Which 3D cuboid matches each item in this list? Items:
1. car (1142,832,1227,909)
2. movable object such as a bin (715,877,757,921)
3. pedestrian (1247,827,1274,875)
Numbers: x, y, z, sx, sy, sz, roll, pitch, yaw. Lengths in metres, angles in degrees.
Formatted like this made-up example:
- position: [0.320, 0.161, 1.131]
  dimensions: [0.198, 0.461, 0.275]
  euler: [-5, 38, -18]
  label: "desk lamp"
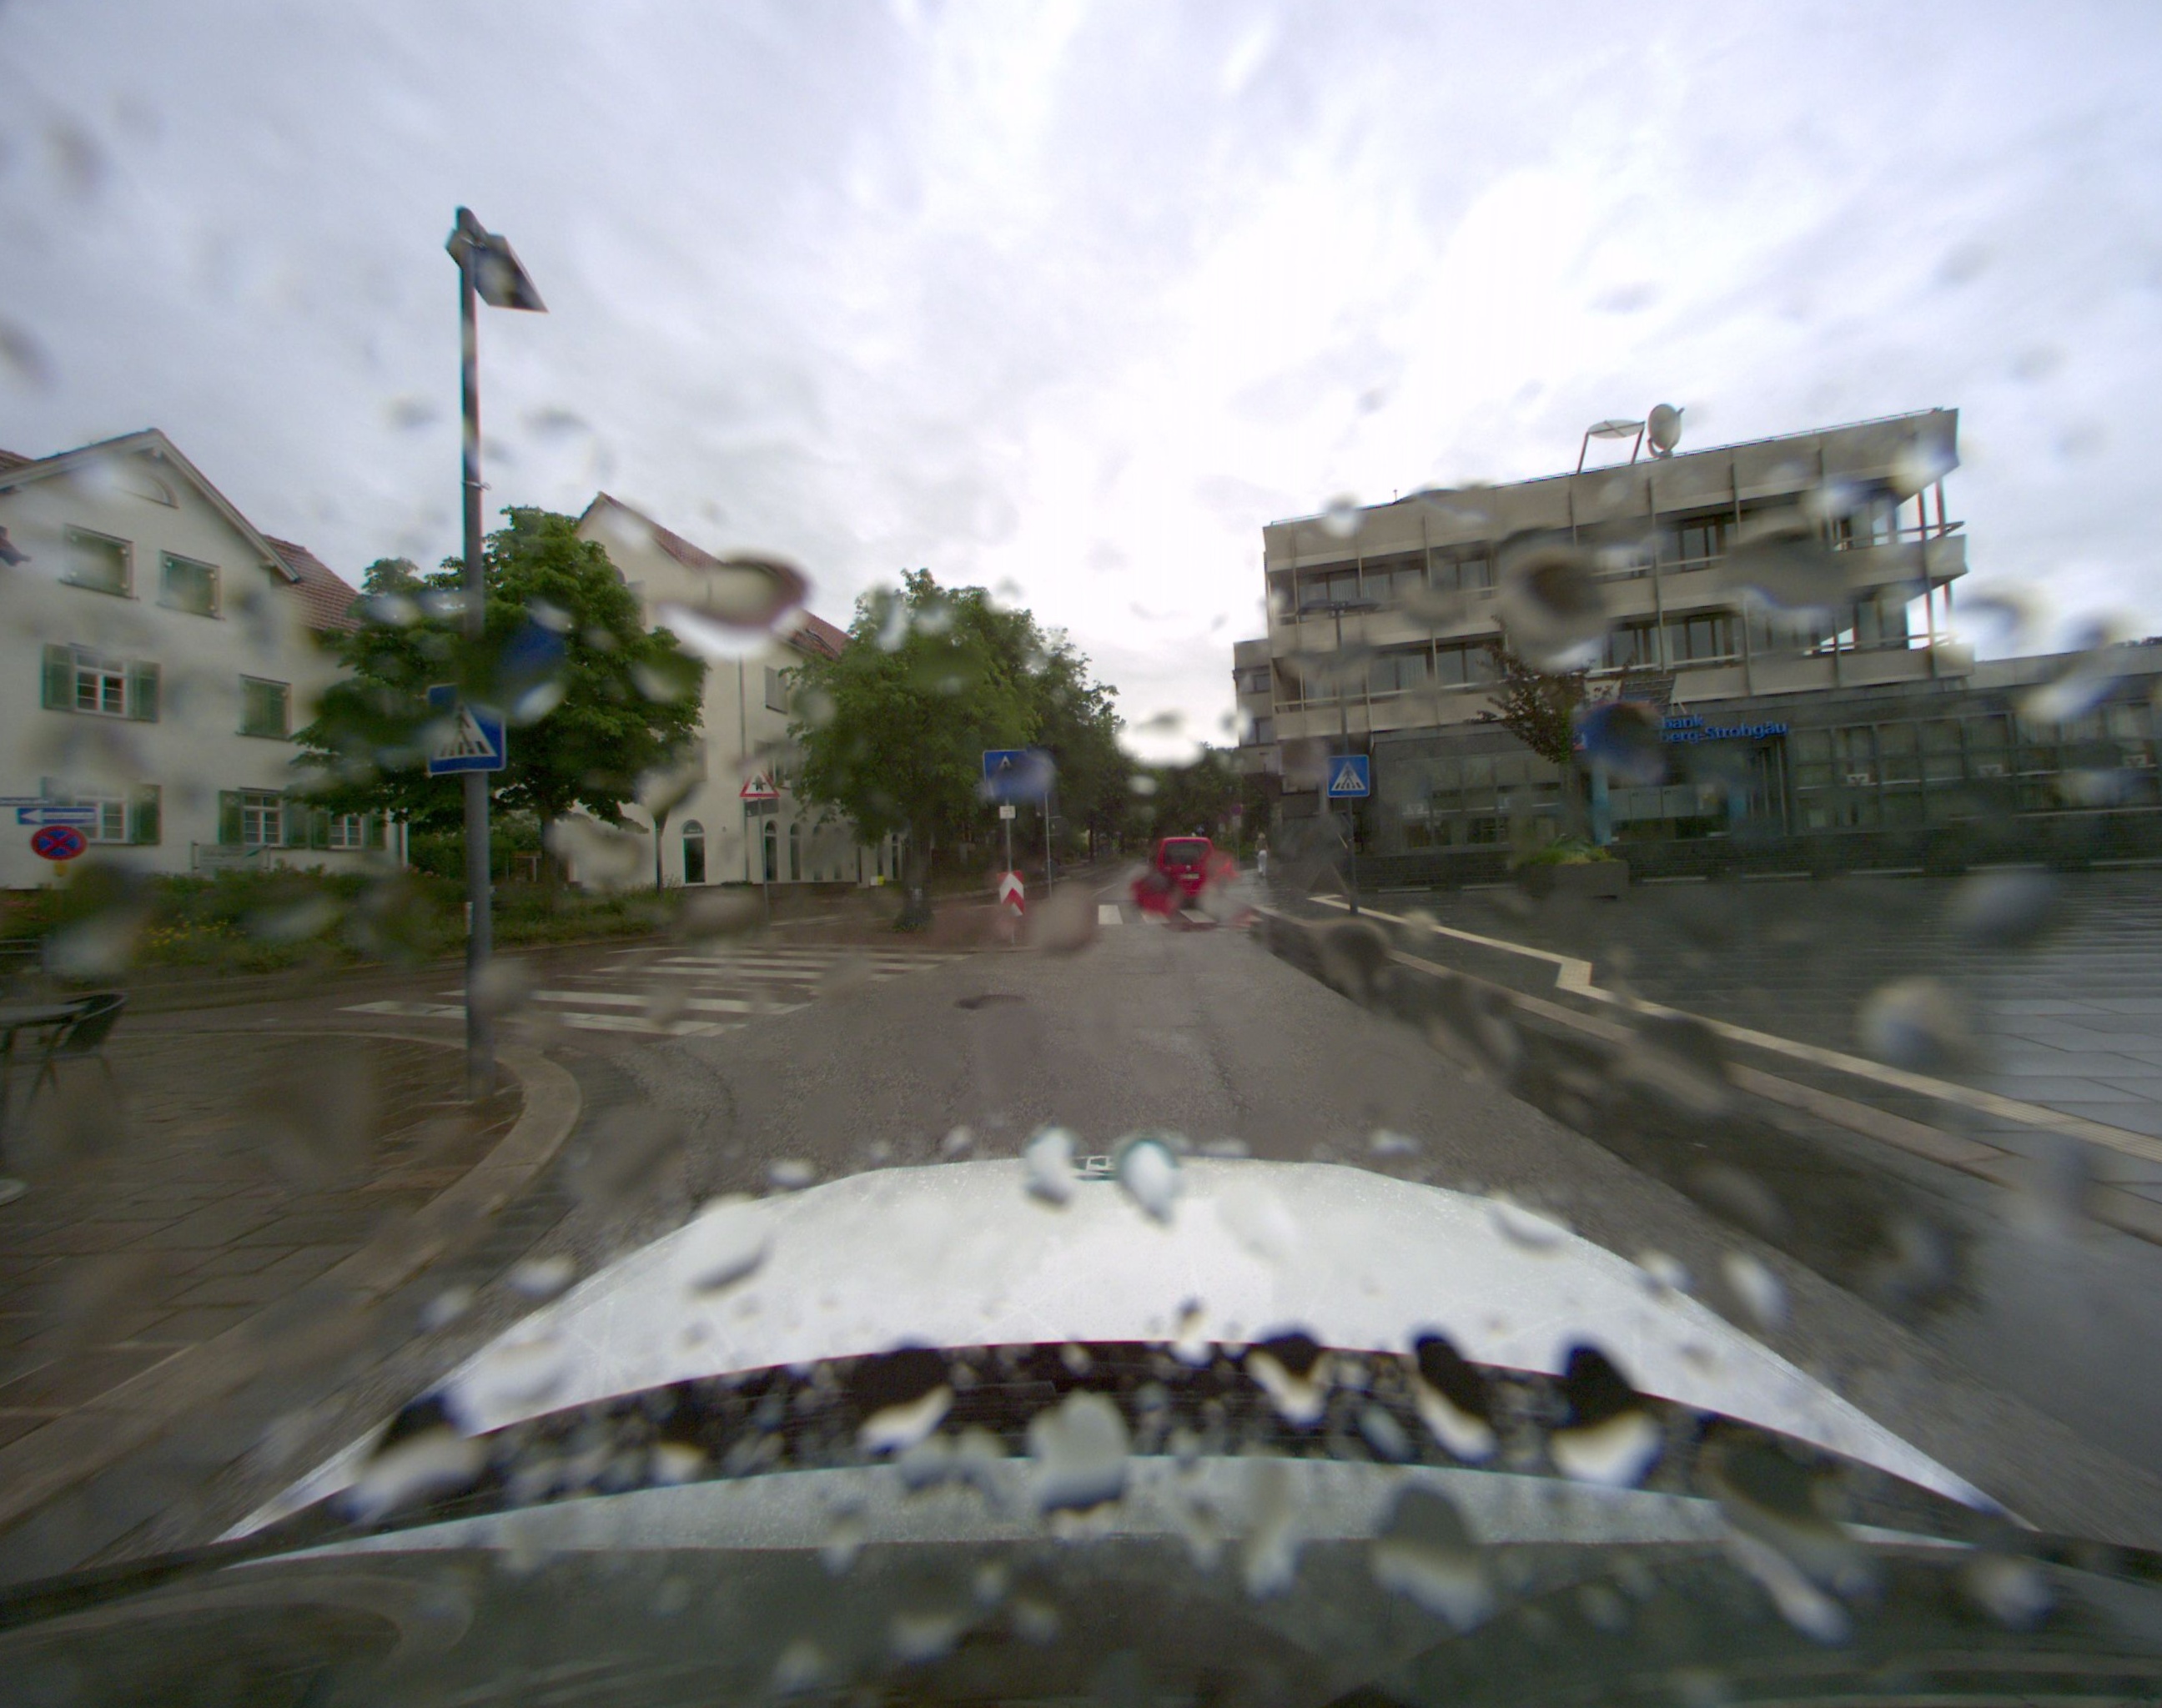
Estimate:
- position: [2.734, 0.435, 22.341]
  dimensions: [1.855, 1.830, 4.186]
  euler: [-3, -1, 2]
  label: "car"
- position: [-9.344, 1.214, 22.056]
  dimensions: [0.731, 1.124, 0.653]
  euler: [-4, -1, 17]
  label: "movable object such as a bin"
- position: [7.080, -0.108, 32.152]
  dimensions: [0.827, 1.830, 0.819]
  euler: [-5, -3, 19]
  label: "pedestrian"
